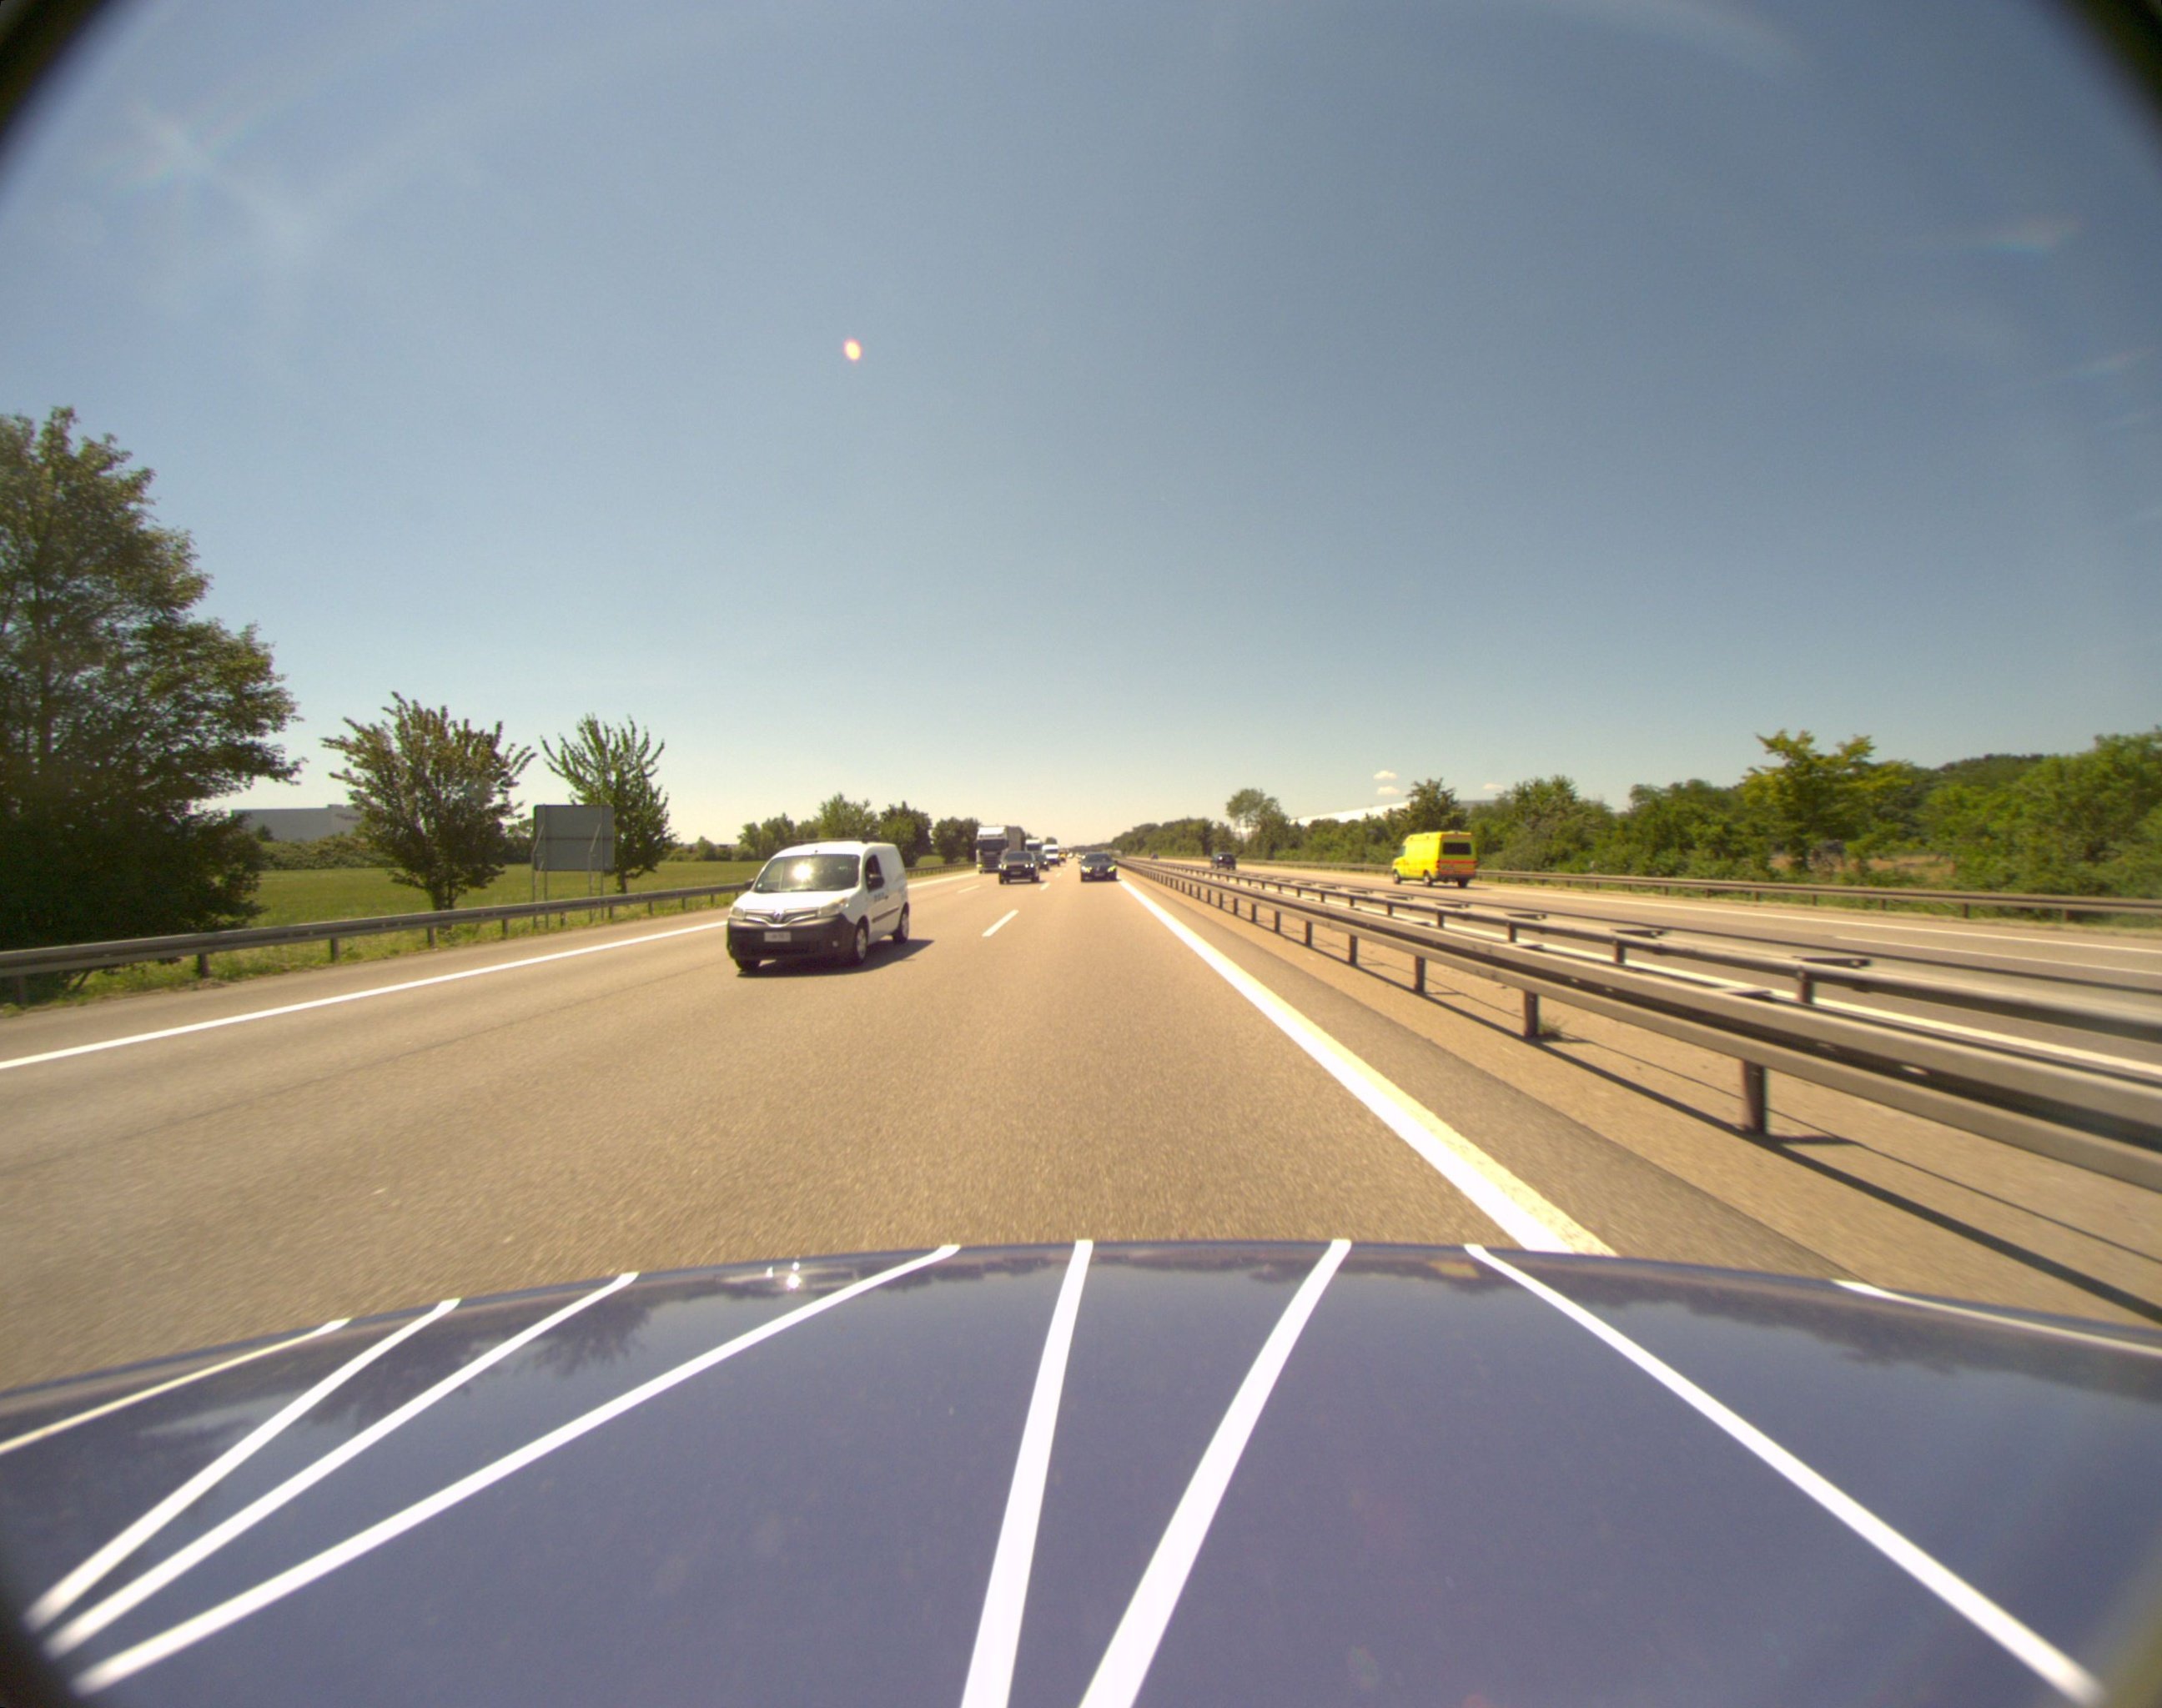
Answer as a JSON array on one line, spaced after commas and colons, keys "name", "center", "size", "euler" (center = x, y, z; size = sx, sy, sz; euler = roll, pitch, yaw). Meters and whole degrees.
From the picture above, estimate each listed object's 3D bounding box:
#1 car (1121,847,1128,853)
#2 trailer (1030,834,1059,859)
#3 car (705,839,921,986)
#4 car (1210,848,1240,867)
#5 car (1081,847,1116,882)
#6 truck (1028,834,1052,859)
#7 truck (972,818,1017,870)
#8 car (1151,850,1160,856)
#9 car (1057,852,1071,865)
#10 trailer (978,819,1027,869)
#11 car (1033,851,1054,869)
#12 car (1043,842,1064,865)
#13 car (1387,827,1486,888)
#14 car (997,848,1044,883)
[{"name": "car", "center": [14.206, -1.357, 248.356], "size": [2.046, 1.913, 5.226], "euler": [1, 0, 0]}, {"name": "trailer", "center": [-6.151, -1.258, 132.004], "size": [2.698, 3.943, 13.967], "euler": [-2, 0, 6]}, {"name": "car", "center": [-4.013, 0.759, 12.332], "size": [1.858, 1.852, 4.701], "euler": [-2, 0, -1]}, {"name": "car", "center": [13.474, 0.325, 71.295], "size": [1.873, 1.680, 4.626], "euler": [1, 0, 0]}, {"name": "car", "center": [0.910, 0.518, 39.342], "size": [1.690, 1.646, 3.462], "euler": [-2, 0, 1]}, {"name": "truck", "center": [-6.762, -1.225, 126.574], "size": [2.698, 3.943, 7.706], "euler": [-2, 0, 6]}, {"name": "truck", "center": [-7.526, -0.858, 67.186], "size": [2.817, 4.279, 7.193], "euler": [-2, 1, 1]}, {"name": "car", "center": [17.617, -0.286, 180.041], "size": [1.568, 1.416, 3.470], "euler": [1, 1, -3]}, {"name": "car", "center": [-2.556, 0.647, 115.269], "size": [1.958, 1.939, 3.999], "euler": [-2, 0, 0]}, {"name": "trailer", "center": [-7.388, -0.904, 73.599], "size": [2.817, 4.279, 14.253], "euler": [-2, 0, 1]}, {"name": "car", "center": [-3.202, 0.540, 65.463], "size": [1.692, 1.465, 3.432], "euler": [-2, 0, -1]}, {"name": "car", "center": [-3.110, -0.083, 86.784], "size": [2.159, 2.494, 5.945], "euler": [-2, 0, 0]}, {"name": "car", "center": [17.516, 0.121, 37.808], "size": [2.171, 2.763, 5.799], "euler": [1, 1, 0]}, {"name": "car", "center": [-3.141, 0.566, 40.393], "size": [1.871, 1.665, 4.746], "euler": [-2, 0, 2]}]
